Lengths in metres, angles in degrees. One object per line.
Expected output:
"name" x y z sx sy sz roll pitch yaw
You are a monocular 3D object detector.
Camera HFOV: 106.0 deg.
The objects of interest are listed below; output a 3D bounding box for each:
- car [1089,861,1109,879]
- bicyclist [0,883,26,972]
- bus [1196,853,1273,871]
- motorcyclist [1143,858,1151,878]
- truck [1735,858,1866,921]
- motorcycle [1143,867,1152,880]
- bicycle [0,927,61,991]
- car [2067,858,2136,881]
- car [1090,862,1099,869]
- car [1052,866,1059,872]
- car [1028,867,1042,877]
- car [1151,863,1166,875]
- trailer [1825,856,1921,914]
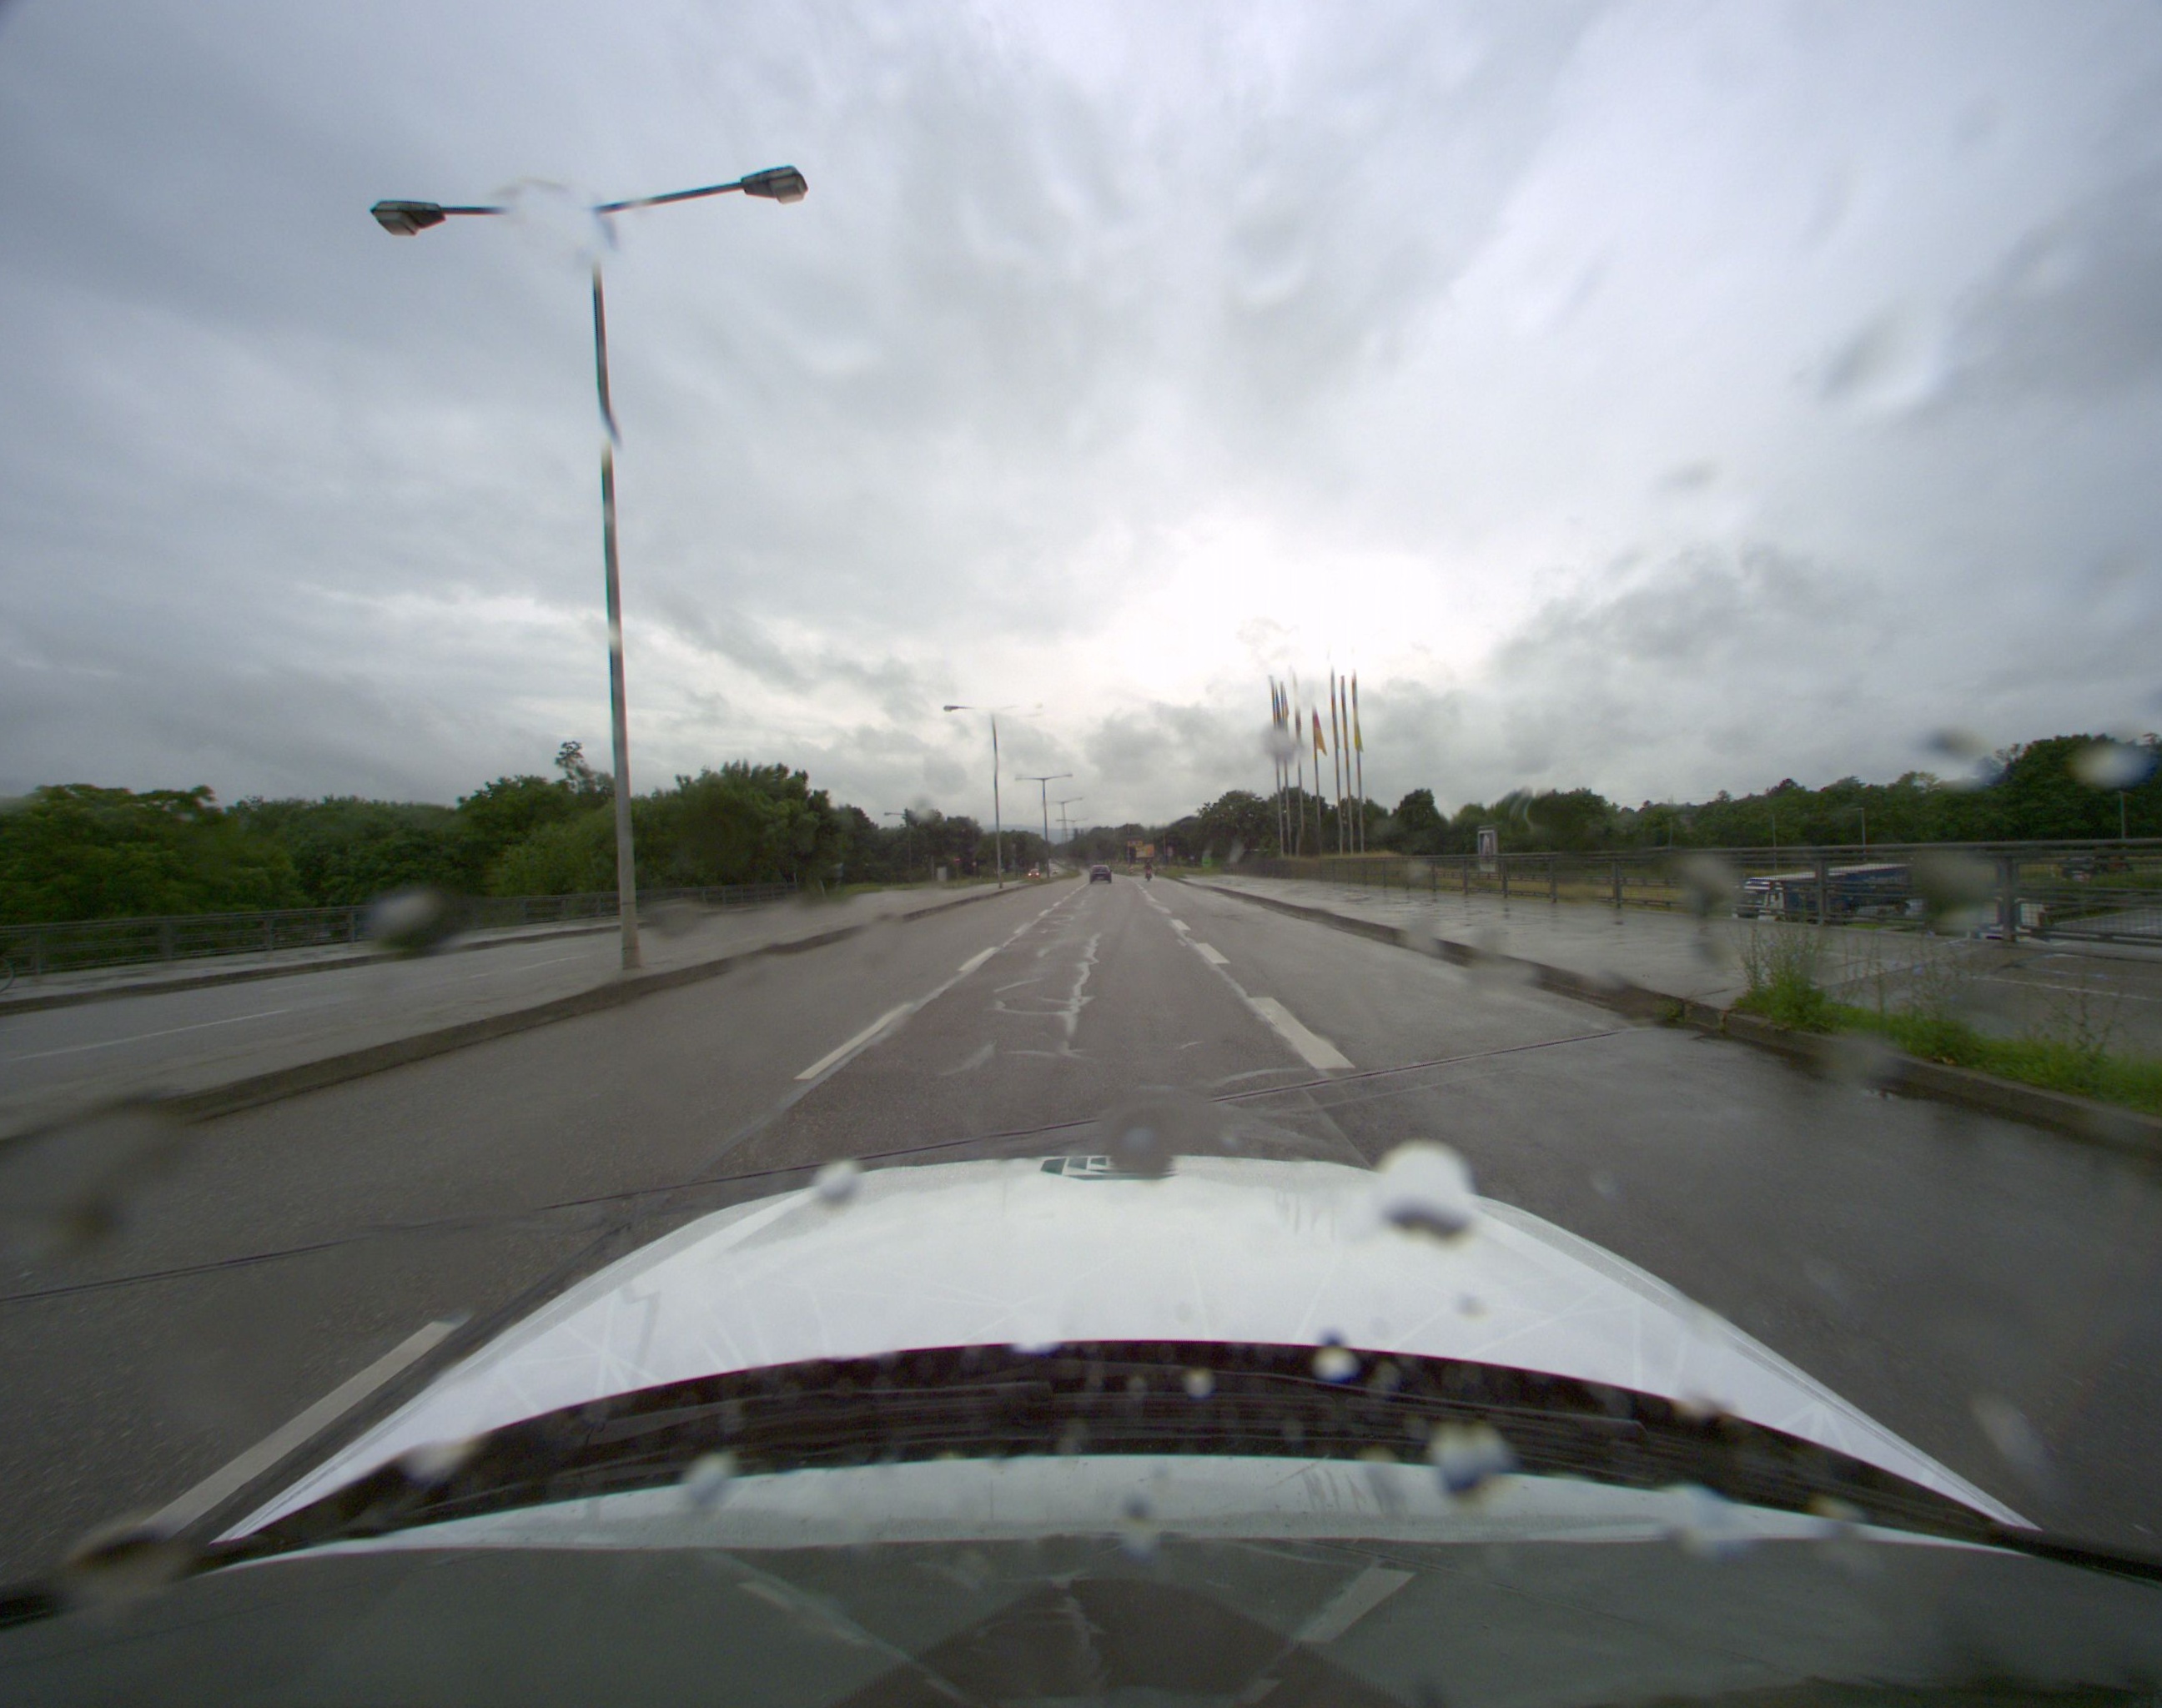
"car" 1.391 1.269 64.191 1.458 1.329 3.758 -2 0 1
"bicyclist" -18.654 1.253 13.638 0.617 1.500 1.003 -1 -1 2
"bus" 25.555 1.353 134.492 14.645 2.680 2.734 -1 -1 -33
"motorcyclist" 5.703 1.236 70.290 0.599 1.690 0.860 -2 -1 0
"truck" 55.057 2.632 62.262 10.944 4.302 2.552 -1 0 -20
"motorcycle" 5.727 1.692 70.304 0.599 1.093 1.732 -2 0 1
"bicycle" -18.646 1.811 13.623 0.607 1.033 2.001 -1 -1 2
"car" 96.168 1.475 76.752 5.617 1.965 2.284 -1 0 -19
"car" 4.258 3.660 255.582 2.510 2.052 5.287 -3 -1 -3
"car" -7.365 4.366 239.227 1.701 1.629 4.492 -5 -1 1
"car" -7.035 2.715 124.053 1.654 1.448 3.558 -4 -1 2
"car" 11.320 2.154 119.175 1.847 1.618 4.002 -1 -1 2
"trailer" 63.645 2.411 65.467 7.373 4.302 2.552 -1 0 -20
